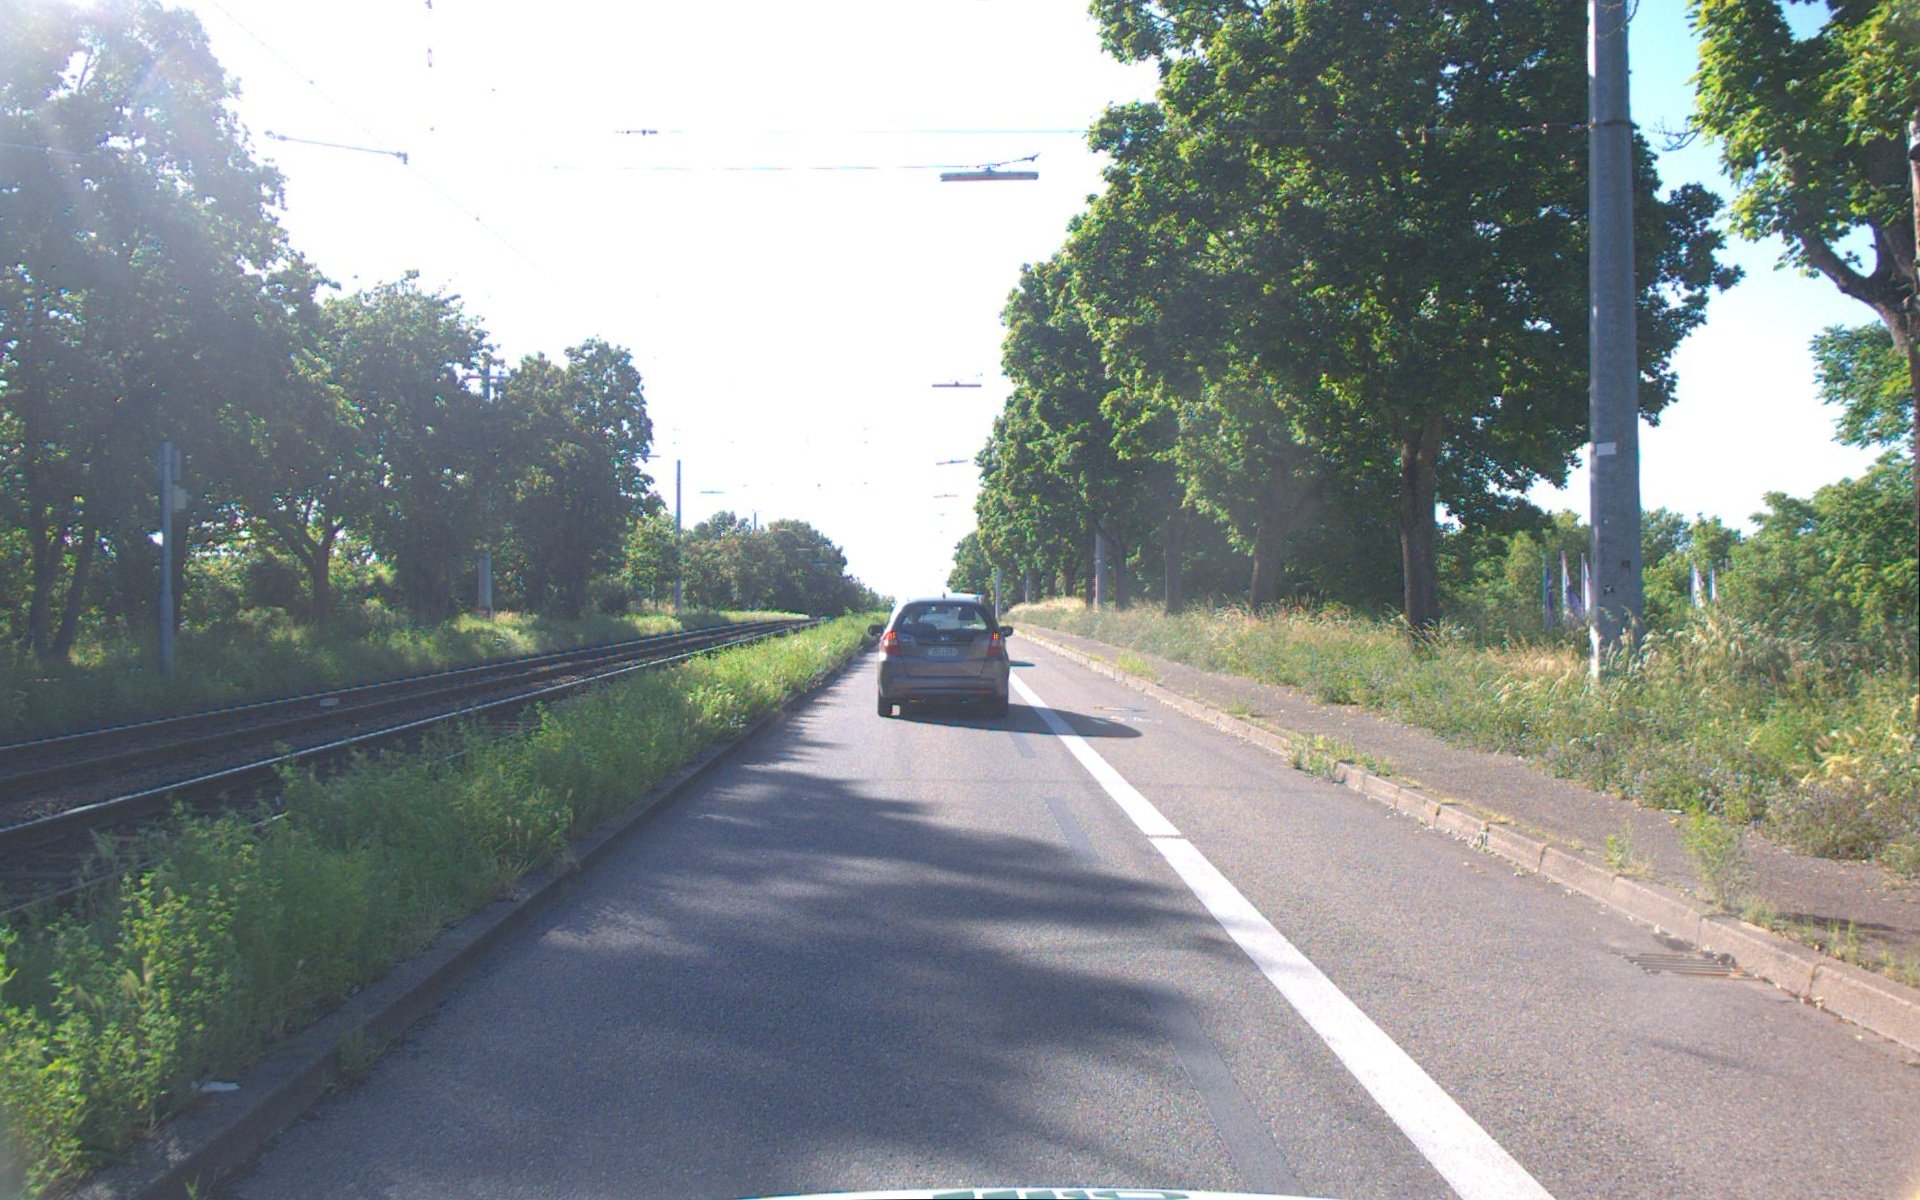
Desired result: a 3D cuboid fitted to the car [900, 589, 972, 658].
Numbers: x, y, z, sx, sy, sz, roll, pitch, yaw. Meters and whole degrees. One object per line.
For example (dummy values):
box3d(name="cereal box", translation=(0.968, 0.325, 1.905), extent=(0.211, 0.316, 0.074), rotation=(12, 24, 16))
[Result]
box3d(name="car", translation=(-0.561, 0.542, 39.747), extent=(1.621, 1.534, 3.810), rotation=(1, 0, 0))

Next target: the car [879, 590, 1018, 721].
box3d(name="car", translation=(-0.158, 0.670, 21.802), extent=(1.636, 1.534, 3.810), rotation=(1, 0, -1))
